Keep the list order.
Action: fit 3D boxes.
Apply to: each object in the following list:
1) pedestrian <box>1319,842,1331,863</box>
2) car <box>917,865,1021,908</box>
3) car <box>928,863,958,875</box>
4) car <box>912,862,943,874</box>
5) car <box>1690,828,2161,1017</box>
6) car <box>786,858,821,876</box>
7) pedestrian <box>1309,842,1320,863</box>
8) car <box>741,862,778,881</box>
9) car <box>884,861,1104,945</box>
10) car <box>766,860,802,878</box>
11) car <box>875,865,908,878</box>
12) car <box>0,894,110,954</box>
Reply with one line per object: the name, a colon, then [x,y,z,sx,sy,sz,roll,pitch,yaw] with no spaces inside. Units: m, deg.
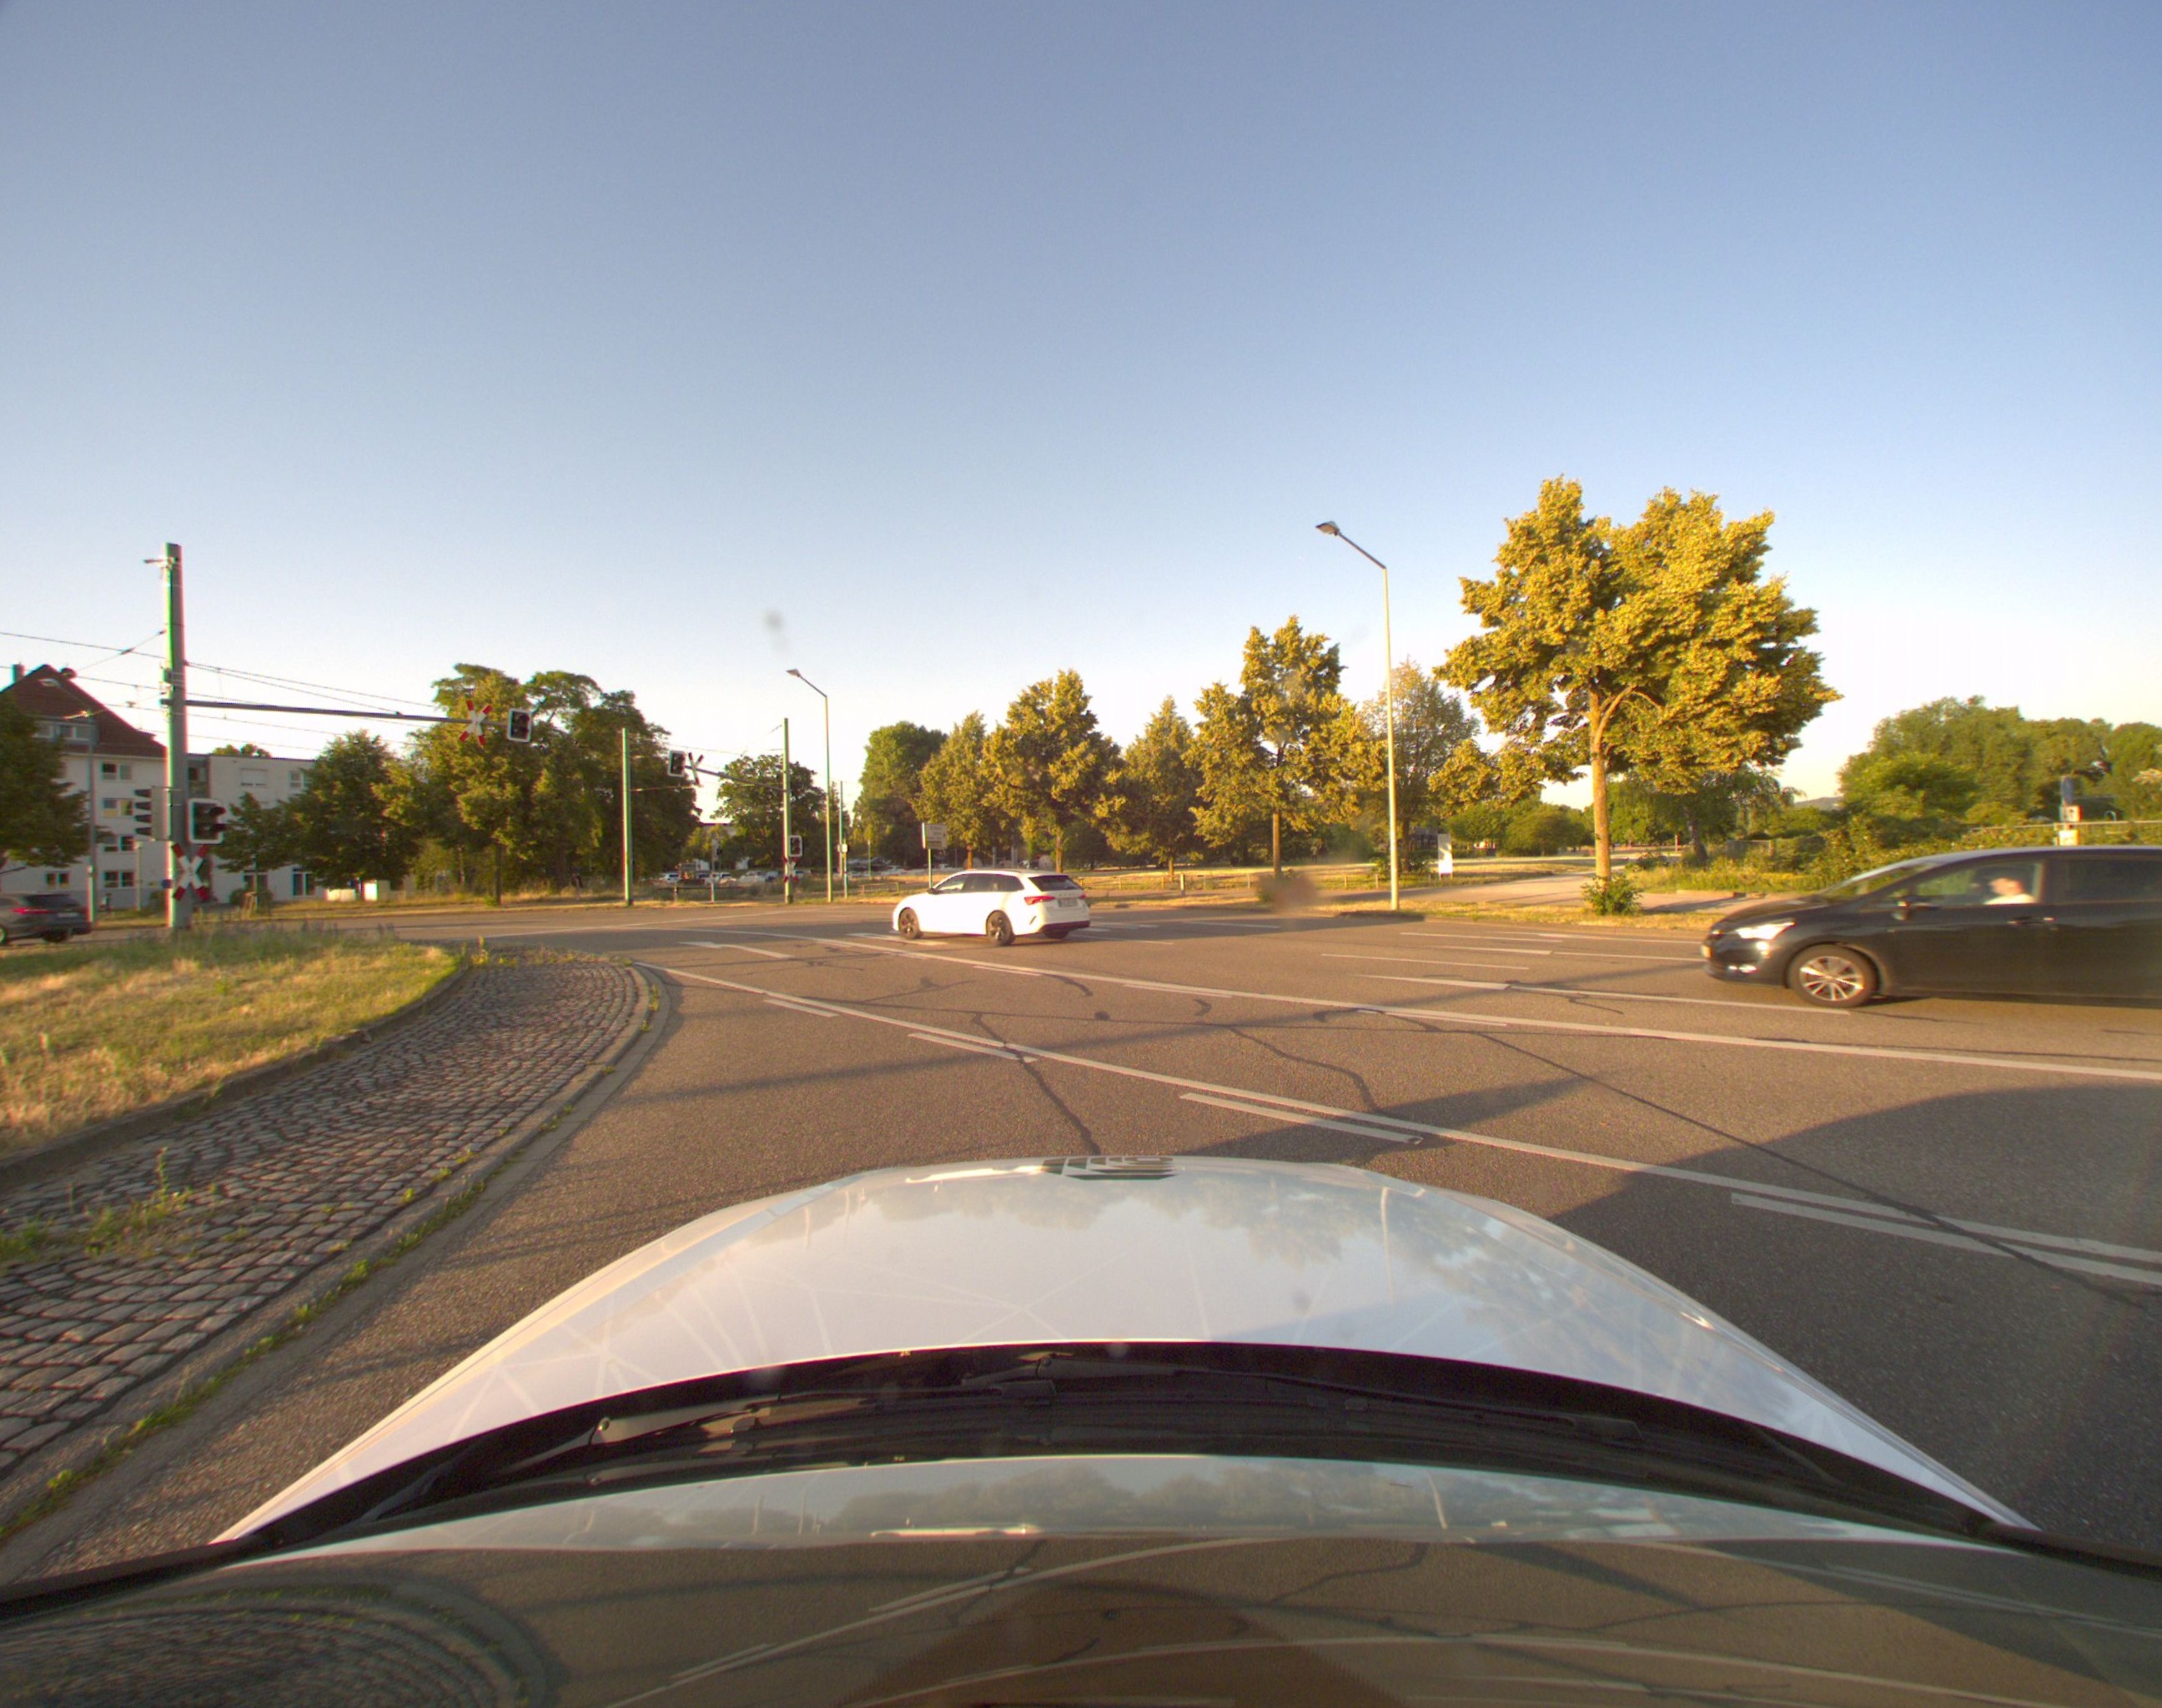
pedestrian: [18.899,-0.122,63.045,0.622,1.626,0.525,-1,0,-28]
car: [-4.070,1.163,29.539,3.442,1.443,1.564,-2,-1,30]
car: [-19.788,2.111,116.686,3.948,1.551,2.013,-2,0,33]
car: [-21.601,1.986,114.792,3.948,1.551,2.013,-2,0,33]
car: [9.040,0.613,8.234,4.399,1.633,1.814,-2,-1,30]
car: [-33.133,1.577,97.227,3.948,2.098,2.013,-2,0,34]
pedestrian: [18.127,-0.095,63.284,0.582,1.626,0.528,-1,0,-30]
car: [-36.600,1.975,92.665,3.948,2.098,2.013,-2,0,34]
car: [-1.865,0.927,16.639,4.490,1.448,1.739,-2,0,38]
car: [-34.719,1.761,95.201,3.948,2.098,2.013,-2,0,34]
car: [-25.286,2.349,108.524,3.948,1.551,2.013,-2,0,33]
car: [-29.866,1.968,22.183,4.124,1.466,1.744,-2,0,-12]
